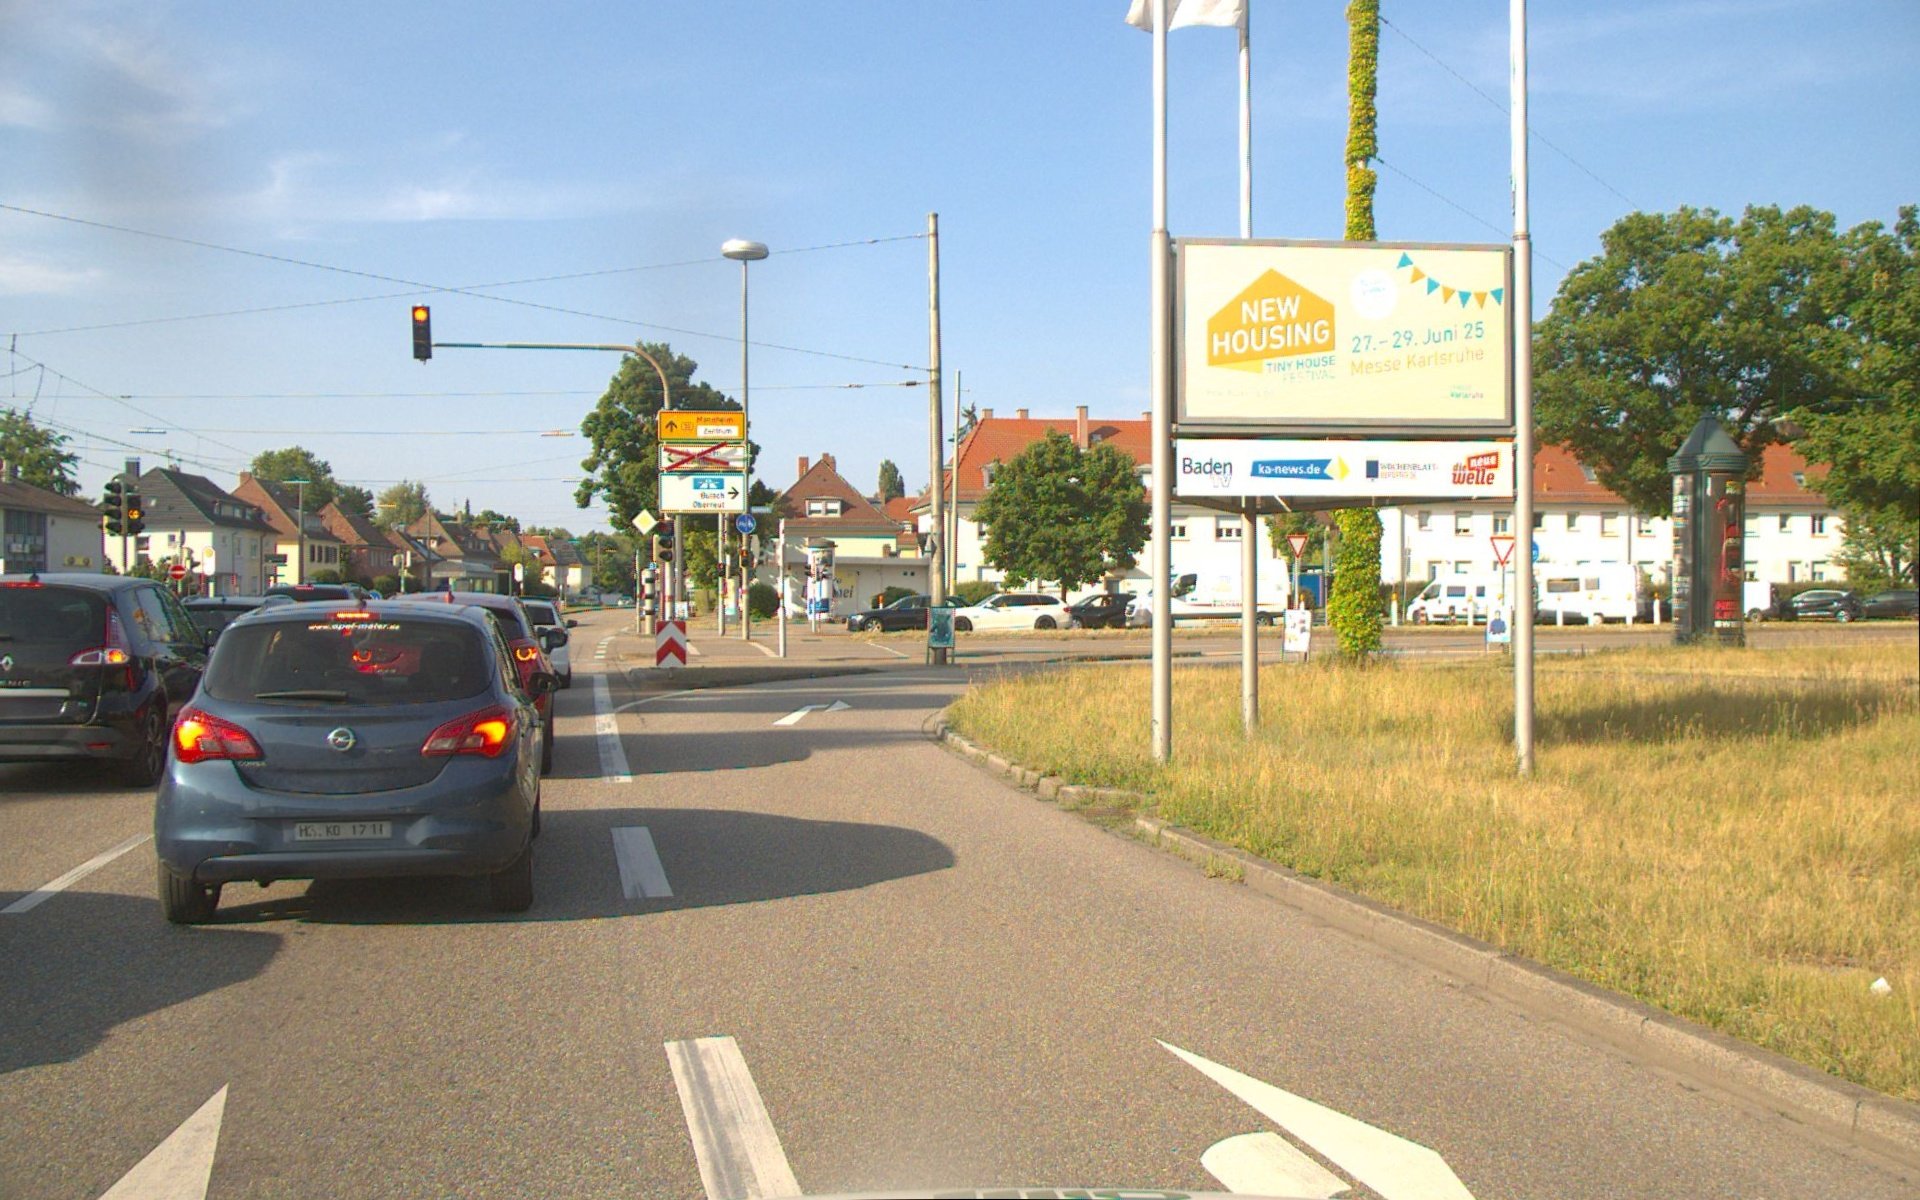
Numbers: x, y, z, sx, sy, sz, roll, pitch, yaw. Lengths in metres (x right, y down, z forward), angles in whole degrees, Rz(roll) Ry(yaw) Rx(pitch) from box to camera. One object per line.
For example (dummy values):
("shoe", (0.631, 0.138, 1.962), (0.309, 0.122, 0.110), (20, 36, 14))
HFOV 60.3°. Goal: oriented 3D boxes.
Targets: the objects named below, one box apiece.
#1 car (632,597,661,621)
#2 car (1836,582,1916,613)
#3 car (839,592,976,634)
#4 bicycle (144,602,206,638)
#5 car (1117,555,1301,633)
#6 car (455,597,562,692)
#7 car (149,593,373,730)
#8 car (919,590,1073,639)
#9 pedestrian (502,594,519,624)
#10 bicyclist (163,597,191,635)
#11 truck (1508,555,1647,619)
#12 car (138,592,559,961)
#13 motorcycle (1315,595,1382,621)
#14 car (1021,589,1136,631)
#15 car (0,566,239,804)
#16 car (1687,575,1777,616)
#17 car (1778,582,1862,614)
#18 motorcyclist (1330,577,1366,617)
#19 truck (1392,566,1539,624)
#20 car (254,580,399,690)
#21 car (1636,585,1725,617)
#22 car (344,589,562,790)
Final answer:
("car", (-19.177, 0.574, 101.115), (1.645, 1.422, 3.989), (1, -1, -11))
("car", (46.768, -0.114, 84.441), (3.364, 1.540, 1.889), (-1, 0, 36))
("car", (-1.915, 0.457, 59.532), (4.738, 1.436, 1.711), (-1, 0, -11))
("bicycle", (-30.674, 0.770, 64.665), (2.044, 1.371, 1.101), (1, -1, -21))
("car", (8.730, -0.218, 58.090), (6.098, 2.629, 1.994), (0, 0, -12))
("car", (-7.640, 0.701, 28.225), (1.628, 1.468, 3.999), (-1, 0, -14))
("car", (-8.656, 0.684, 20.870), (1.669, 1.534, 4.541), (0, 0, -11))
("car", (1.215, 0.481, 56.414), (5.004, 1.590, 1.835), (-1, 0, -11))
("pedestrian", (-23.230, 0.452, 85.394), (0.739, 1.525, 0.825), (1, -1, -10))
("bicyclist", (-30.627, 0.614, 64.677), (0.871, 1.456, 1.130), (1, -1, -21))
("truck", (29.402, -0.586, 78.830), (5.950, 2.904, 1.891), (-1, 0, 32))
("car", (-3.183, 0.729, 9.219), (1.713, 1.532, 4.205), (0, 0, -15))
("motorcycle", (13.694, 0.267, 58.373), (2.232, 0.882, 0.688), (0, 0, -13))
("car", (4.340, 0.359, 60.732), (3.916, 1.478, 1.711), (-1, 0, -11))
("car", (-7.317, 0.603, 13.824), (1.734, 1.700, 4.068), (0, 0, -15))
("car", (38.122, -0.213, 81.718), (3.826, 1.953, 1.891), (-1, 0, 33))
("car", (42.358, -0.089, 81.460), (3.430, 1.540, 1.889), (-1, 0, 36))
("motorcyclist", (13.688, -0.105, 58.368), (1.047, 1.375, 0.677), (0, 0, -13))
("truck", (23.522, -0.254, 77.090), (6.248, 2.568, 2.262), (1, 1, 44))
("car", (-10.613, 0.536, 27.981), (1.480, 1.680, 4.731), (-1, 0, -11))
("car", (35.166, 0.041, 80.700), (3.823, 1.481, 1.893), (-1, 0, 29))
("car", (-4.582, 0.711, 15.348), (1.678, 1.579, 3.963), (-1, 0, -14))
